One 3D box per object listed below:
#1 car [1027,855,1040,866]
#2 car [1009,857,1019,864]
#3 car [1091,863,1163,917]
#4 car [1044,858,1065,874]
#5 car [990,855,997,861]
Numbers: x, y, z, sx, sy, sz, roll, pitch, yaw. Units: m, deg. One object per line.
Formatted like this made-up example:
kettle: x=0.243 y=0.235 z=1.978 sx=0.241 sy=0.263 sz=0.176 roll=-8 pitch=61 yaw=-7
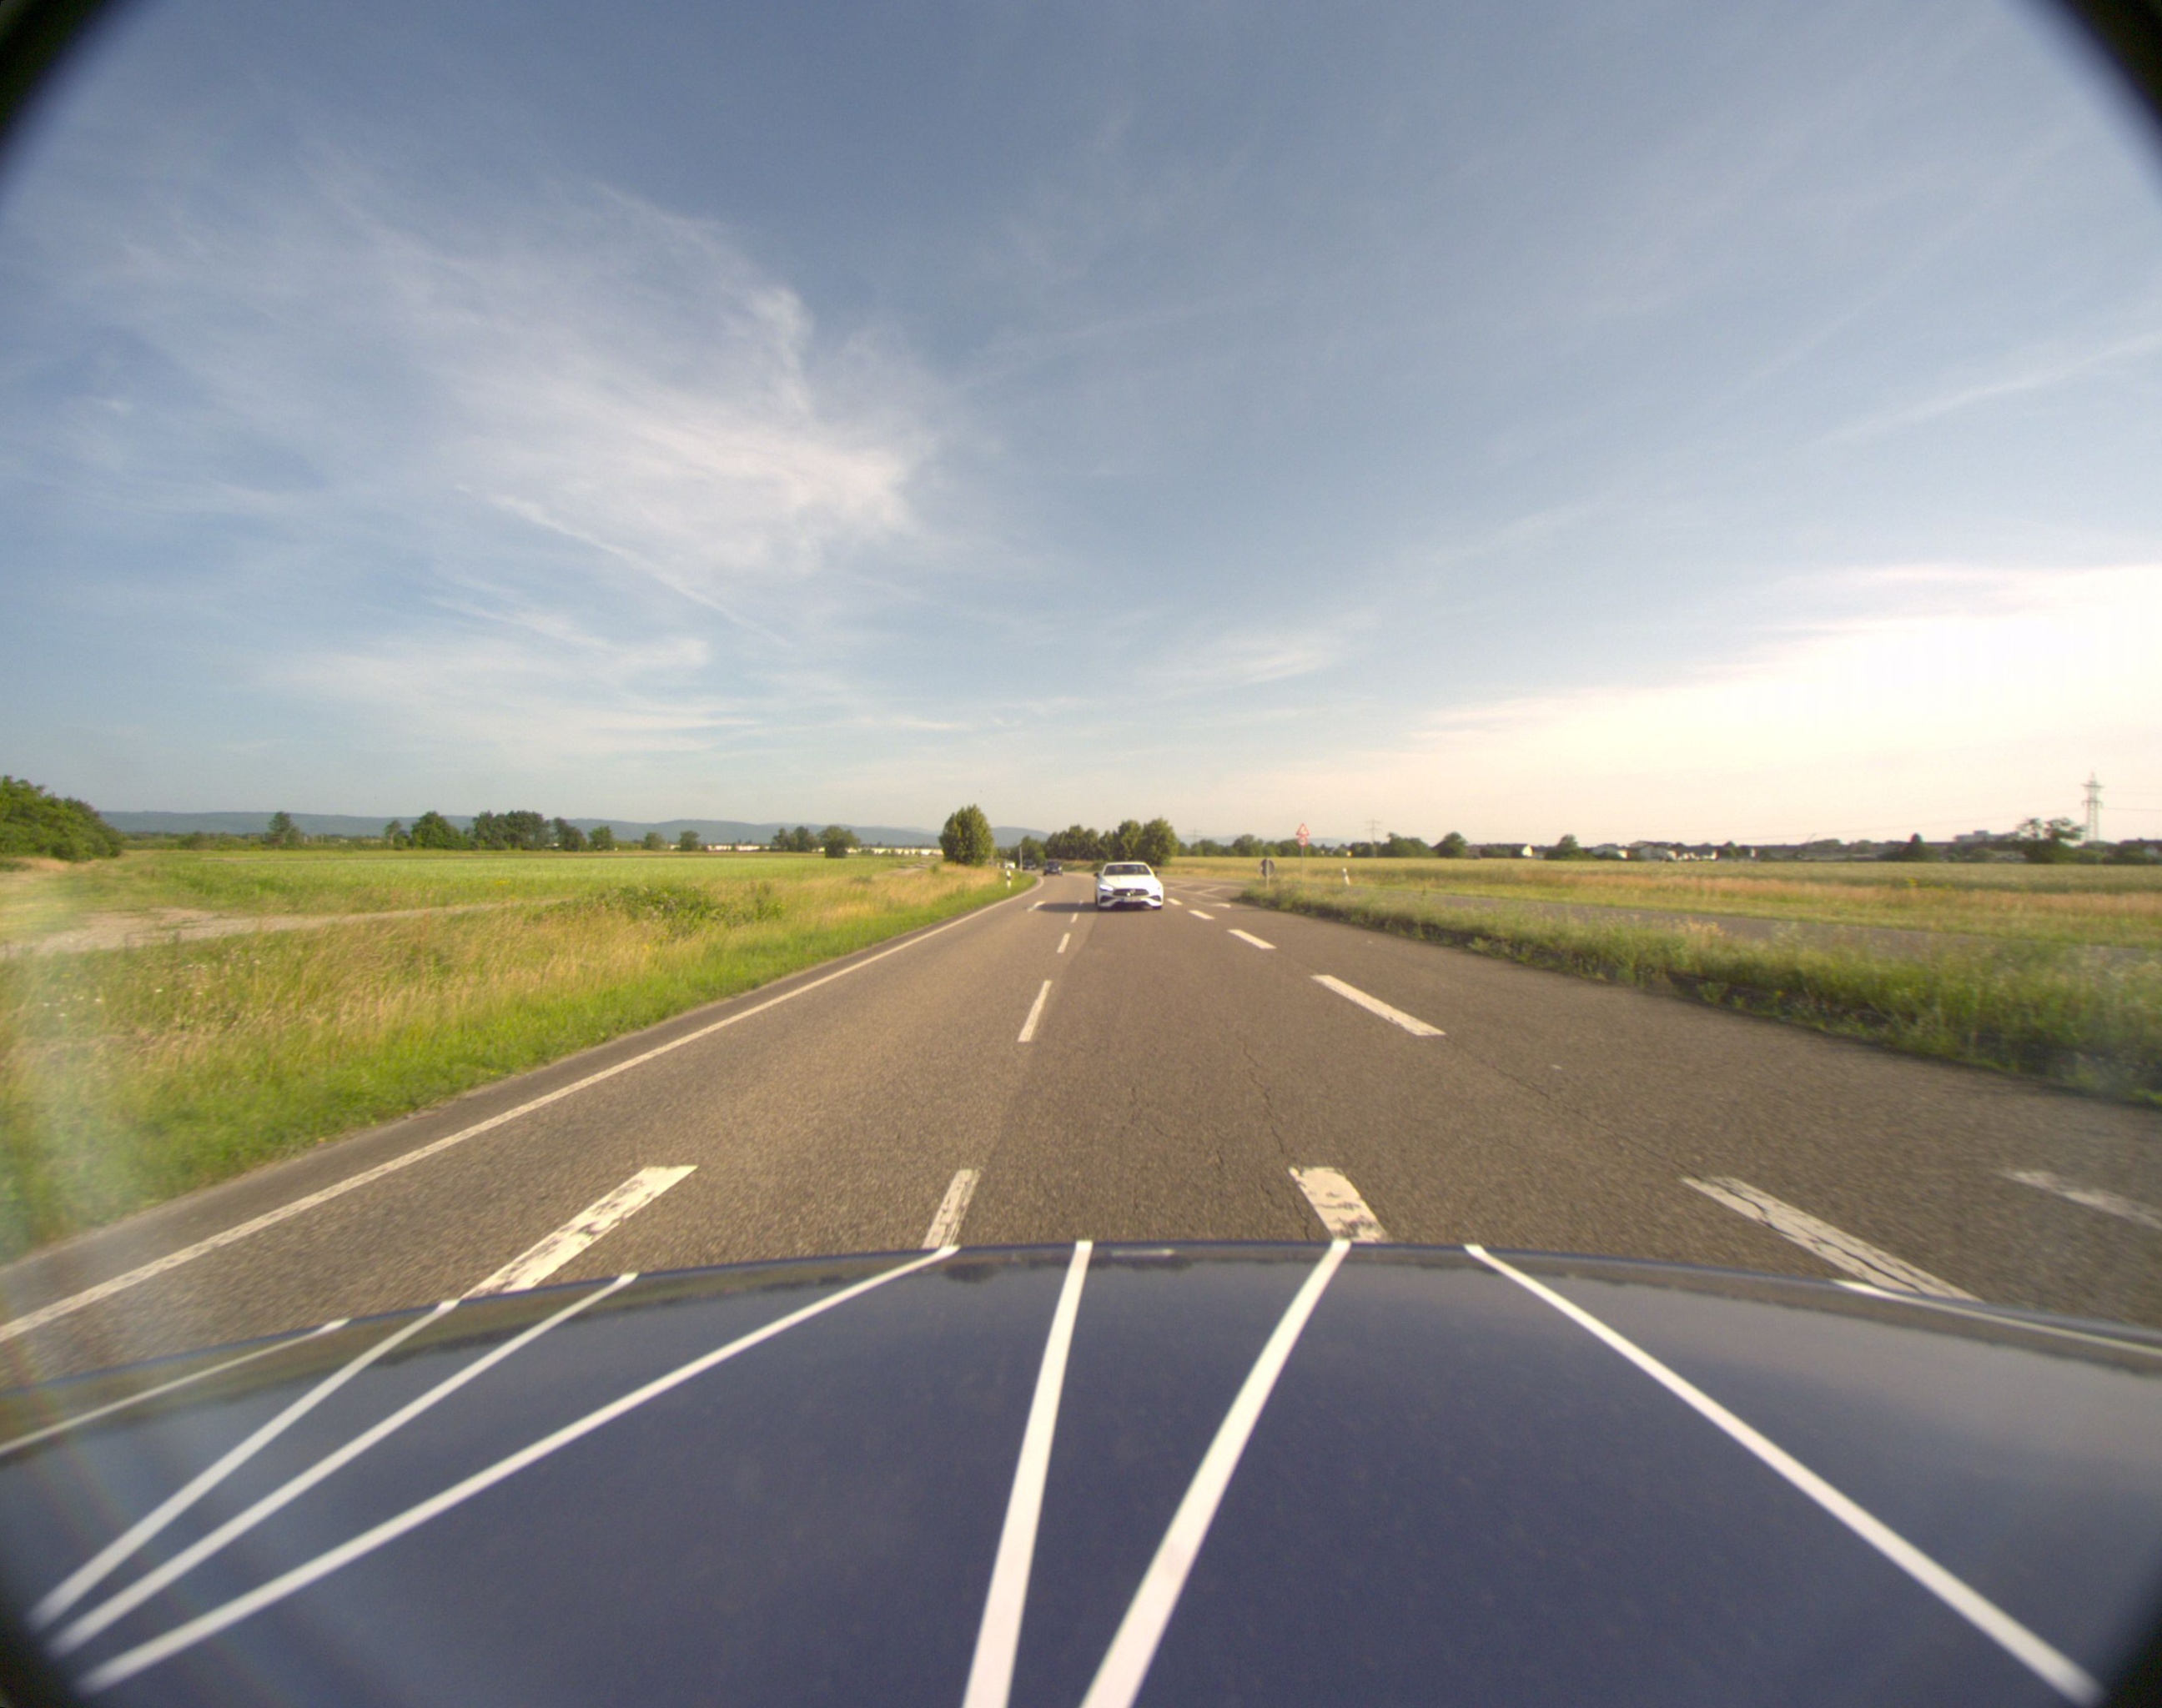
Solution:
car: x=-7.094 y=1.003 z=113.558 sx=1.558 sy=1.550 sz=3.046 roll=-1 pitch=0 yaw=-9
car: x=-13.010 y=1.257 z=148.028 sx=1.558 sy=1.391 sz=4.032 roll=-1 pitch=0 yaw=-9
car: x=1.420 y=1.021 z=23.001 sx=1.940 sy=1.389 sz=3.920 roll=-2 pitch=0 yaw=4
car: x=-2.632 y=1.126 z=74.251 sx=1.586 sy=1.496 sz=3.658 roll=-1 pitch=0 yaw=-9
car: x=-21.176 y=1.067 z=183.954 sx=1.558 sy=1.391 sz=4.032 roll=-1 pitch=0 yaw=-10
